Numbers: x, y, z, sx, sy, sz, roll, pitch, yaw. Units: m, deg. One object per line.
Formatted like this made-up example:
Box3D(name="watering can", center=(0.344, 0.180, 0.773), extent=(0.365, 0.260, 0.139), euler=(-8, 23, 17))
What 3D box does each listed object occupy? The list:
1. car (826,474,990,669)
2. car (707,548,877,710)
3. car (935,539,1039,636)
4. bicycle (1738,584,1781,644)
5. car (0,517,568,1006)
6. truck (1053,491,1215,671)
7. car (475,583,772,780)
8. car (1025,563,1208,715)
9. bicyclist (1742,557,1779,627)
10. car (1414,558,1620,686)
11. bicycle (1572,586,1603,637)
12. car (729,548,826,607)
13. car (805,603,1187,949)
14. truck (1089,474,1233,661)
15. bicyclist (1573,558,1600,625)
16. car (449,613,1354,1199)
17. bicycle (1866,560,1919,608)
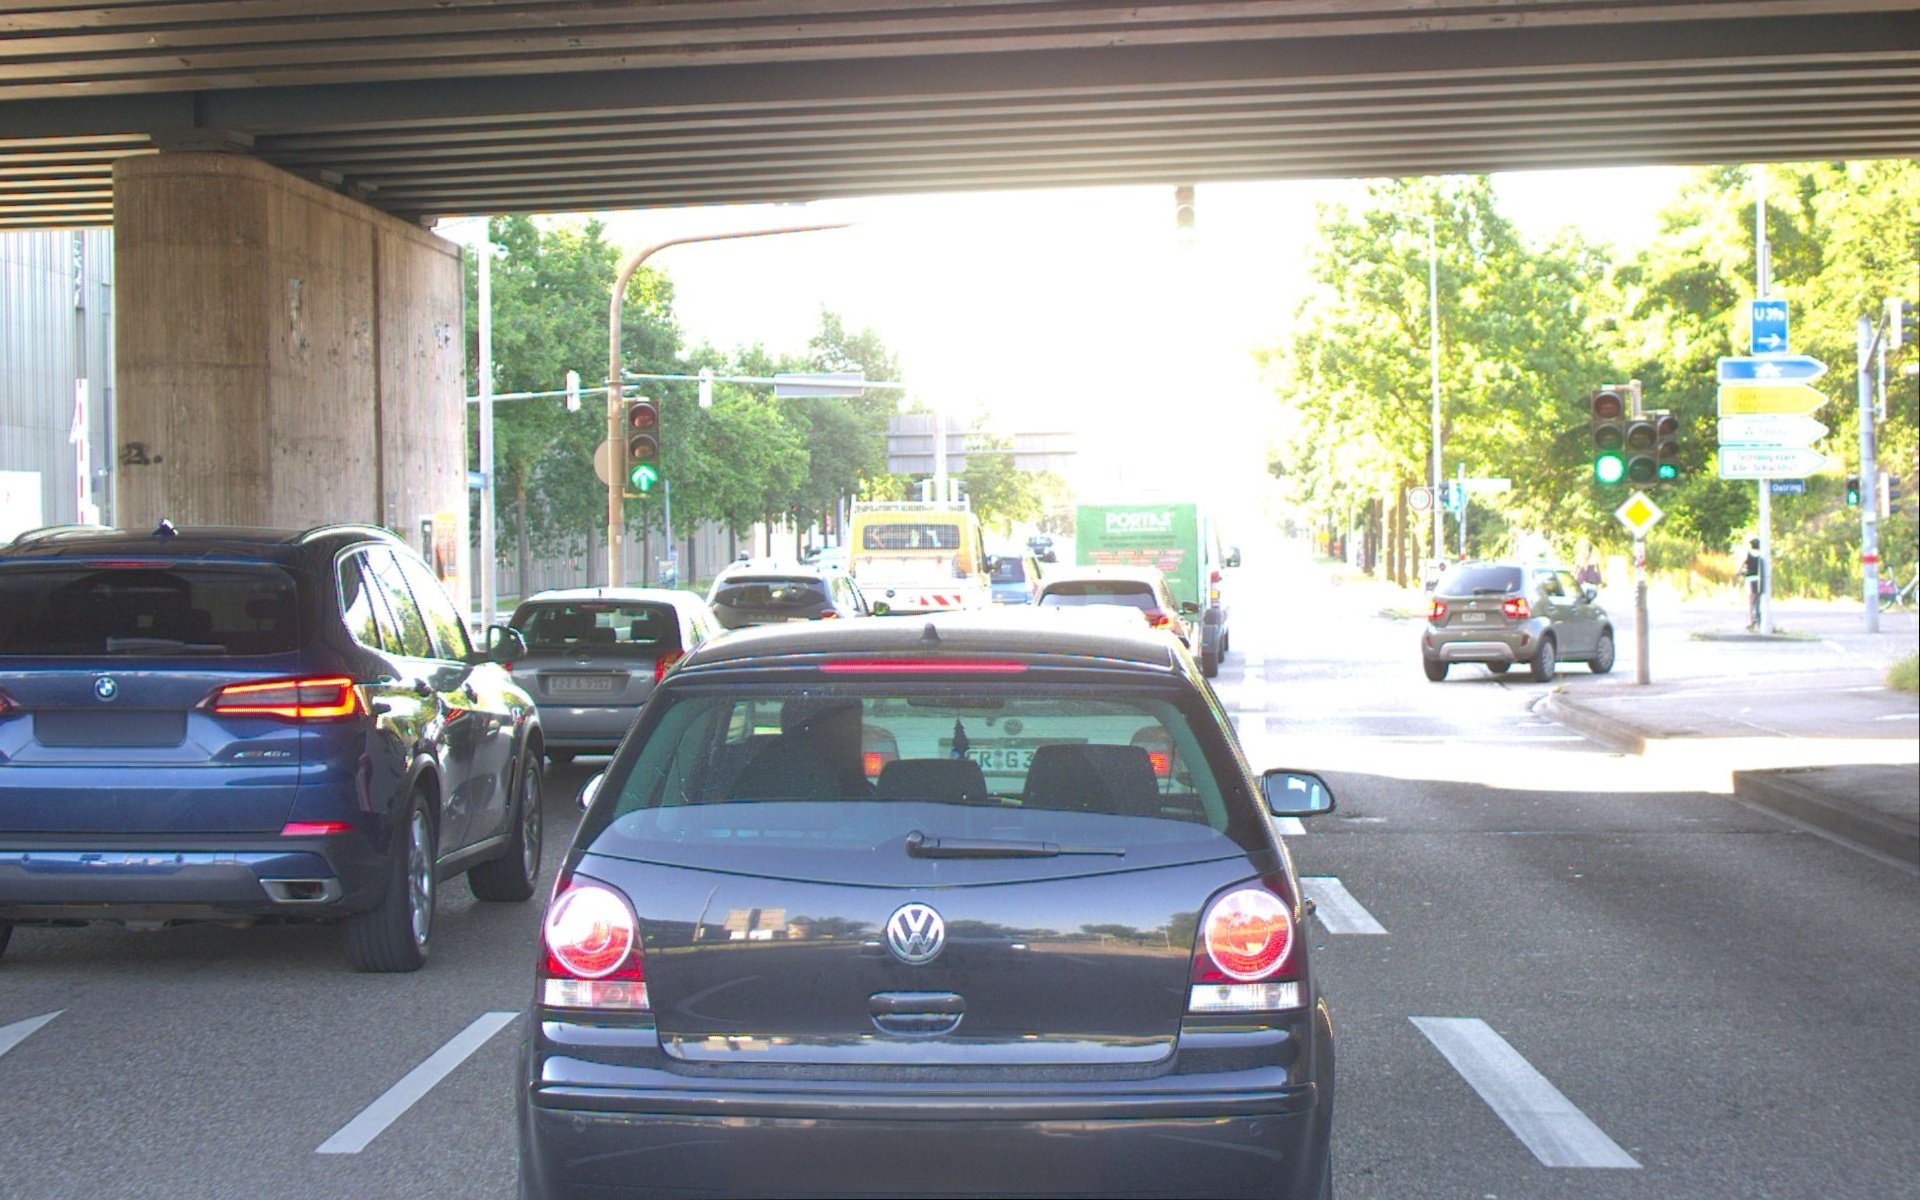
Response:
Box3D(name="car", center=(-0.682, -0.385, 48.217), extent=(2.136, 2.567, 5.087), euler=(1, 0, 0))
Box3D(name="car", center=(-1.805, 0.303, 37.838), extent=(1.616, 1.673, 3.683), euler=(1, 0, 1))
Box3D(name="car", center=(0.514, -0.217, 62.080), extent=(1.617, 1.673, 3.682), euler=(1, 0, 4))
Box3D(name="bicycle", center=(15.184, 0.262, 65.297), extent=(0.565, 1.108, 1.621), euler=(1, 0, 5))
Box3D(name="car", center=(-2.972, 0.567, 14.562), extent=(1.993, 1.728, 4.532), euler=(1, 0, 1))
Box3D(name="truck", center=(2.406, -0.253, 46.645), extent=(1.996, 2.307, 3.999), euler=(1, 0, 5))
Box3D(name="car", center=(-2.560, 0.590, 26.919), extent=(1.617, 1.405, 3.682), euler=(1, 0, 5))
Box3D(name="car", center=(1.765, 0.399, 37.649), extent=(1.796, 1.553, 3.999), euler=(1, 0, 5))
Box3D(name="bicyclist", center=(15.192, -0.150, 65.240), extent=(0.544, 1.311, 0.835), euler=(1, 0, 5))
Box3D(name="car", center=(7.518, 0.282, 46.119), extent=(1.739, 1.625, 4.057), euler=(1, 0, 24))
Box3D(name="bicycle", center=(11.595, 0.213, 63.524), extent=(0.437, 0.911, 1.026), euler=(-2, 0, 5))
Box3D(name="car", center=(-4.757, -0.577, 90.091), extent=(1.994, 1.470, 4.080), euler=(1, 0, 4))
Box3D(name="car", center=(0.145, 0.738, 16.408), extent=(1.578, 1.408, 4.062), euler=(1, 0, 0))
Box3D(name="truck", center=(3.058, -0.473, 51.598), extent=(1.996, 2.659, 3.999), euler=(1, 0, 5))
Box3D(name="bicyclist", center=(11.579, -0.156, 63.557), extent=(0.427, 1.229, 0.460), euler=(-1, 0, 5))
Box3D(name="car", center=(0.023, 0.753, 8.007), extent=(1.617, 1.405, 3.682), euler=(1, 0, 4))
Box3D(name="bicycle", center=(20.528, -0.346, 74.506), extent=(1.664, 0.988, 0.577), euler=(-1, 3, 22))
